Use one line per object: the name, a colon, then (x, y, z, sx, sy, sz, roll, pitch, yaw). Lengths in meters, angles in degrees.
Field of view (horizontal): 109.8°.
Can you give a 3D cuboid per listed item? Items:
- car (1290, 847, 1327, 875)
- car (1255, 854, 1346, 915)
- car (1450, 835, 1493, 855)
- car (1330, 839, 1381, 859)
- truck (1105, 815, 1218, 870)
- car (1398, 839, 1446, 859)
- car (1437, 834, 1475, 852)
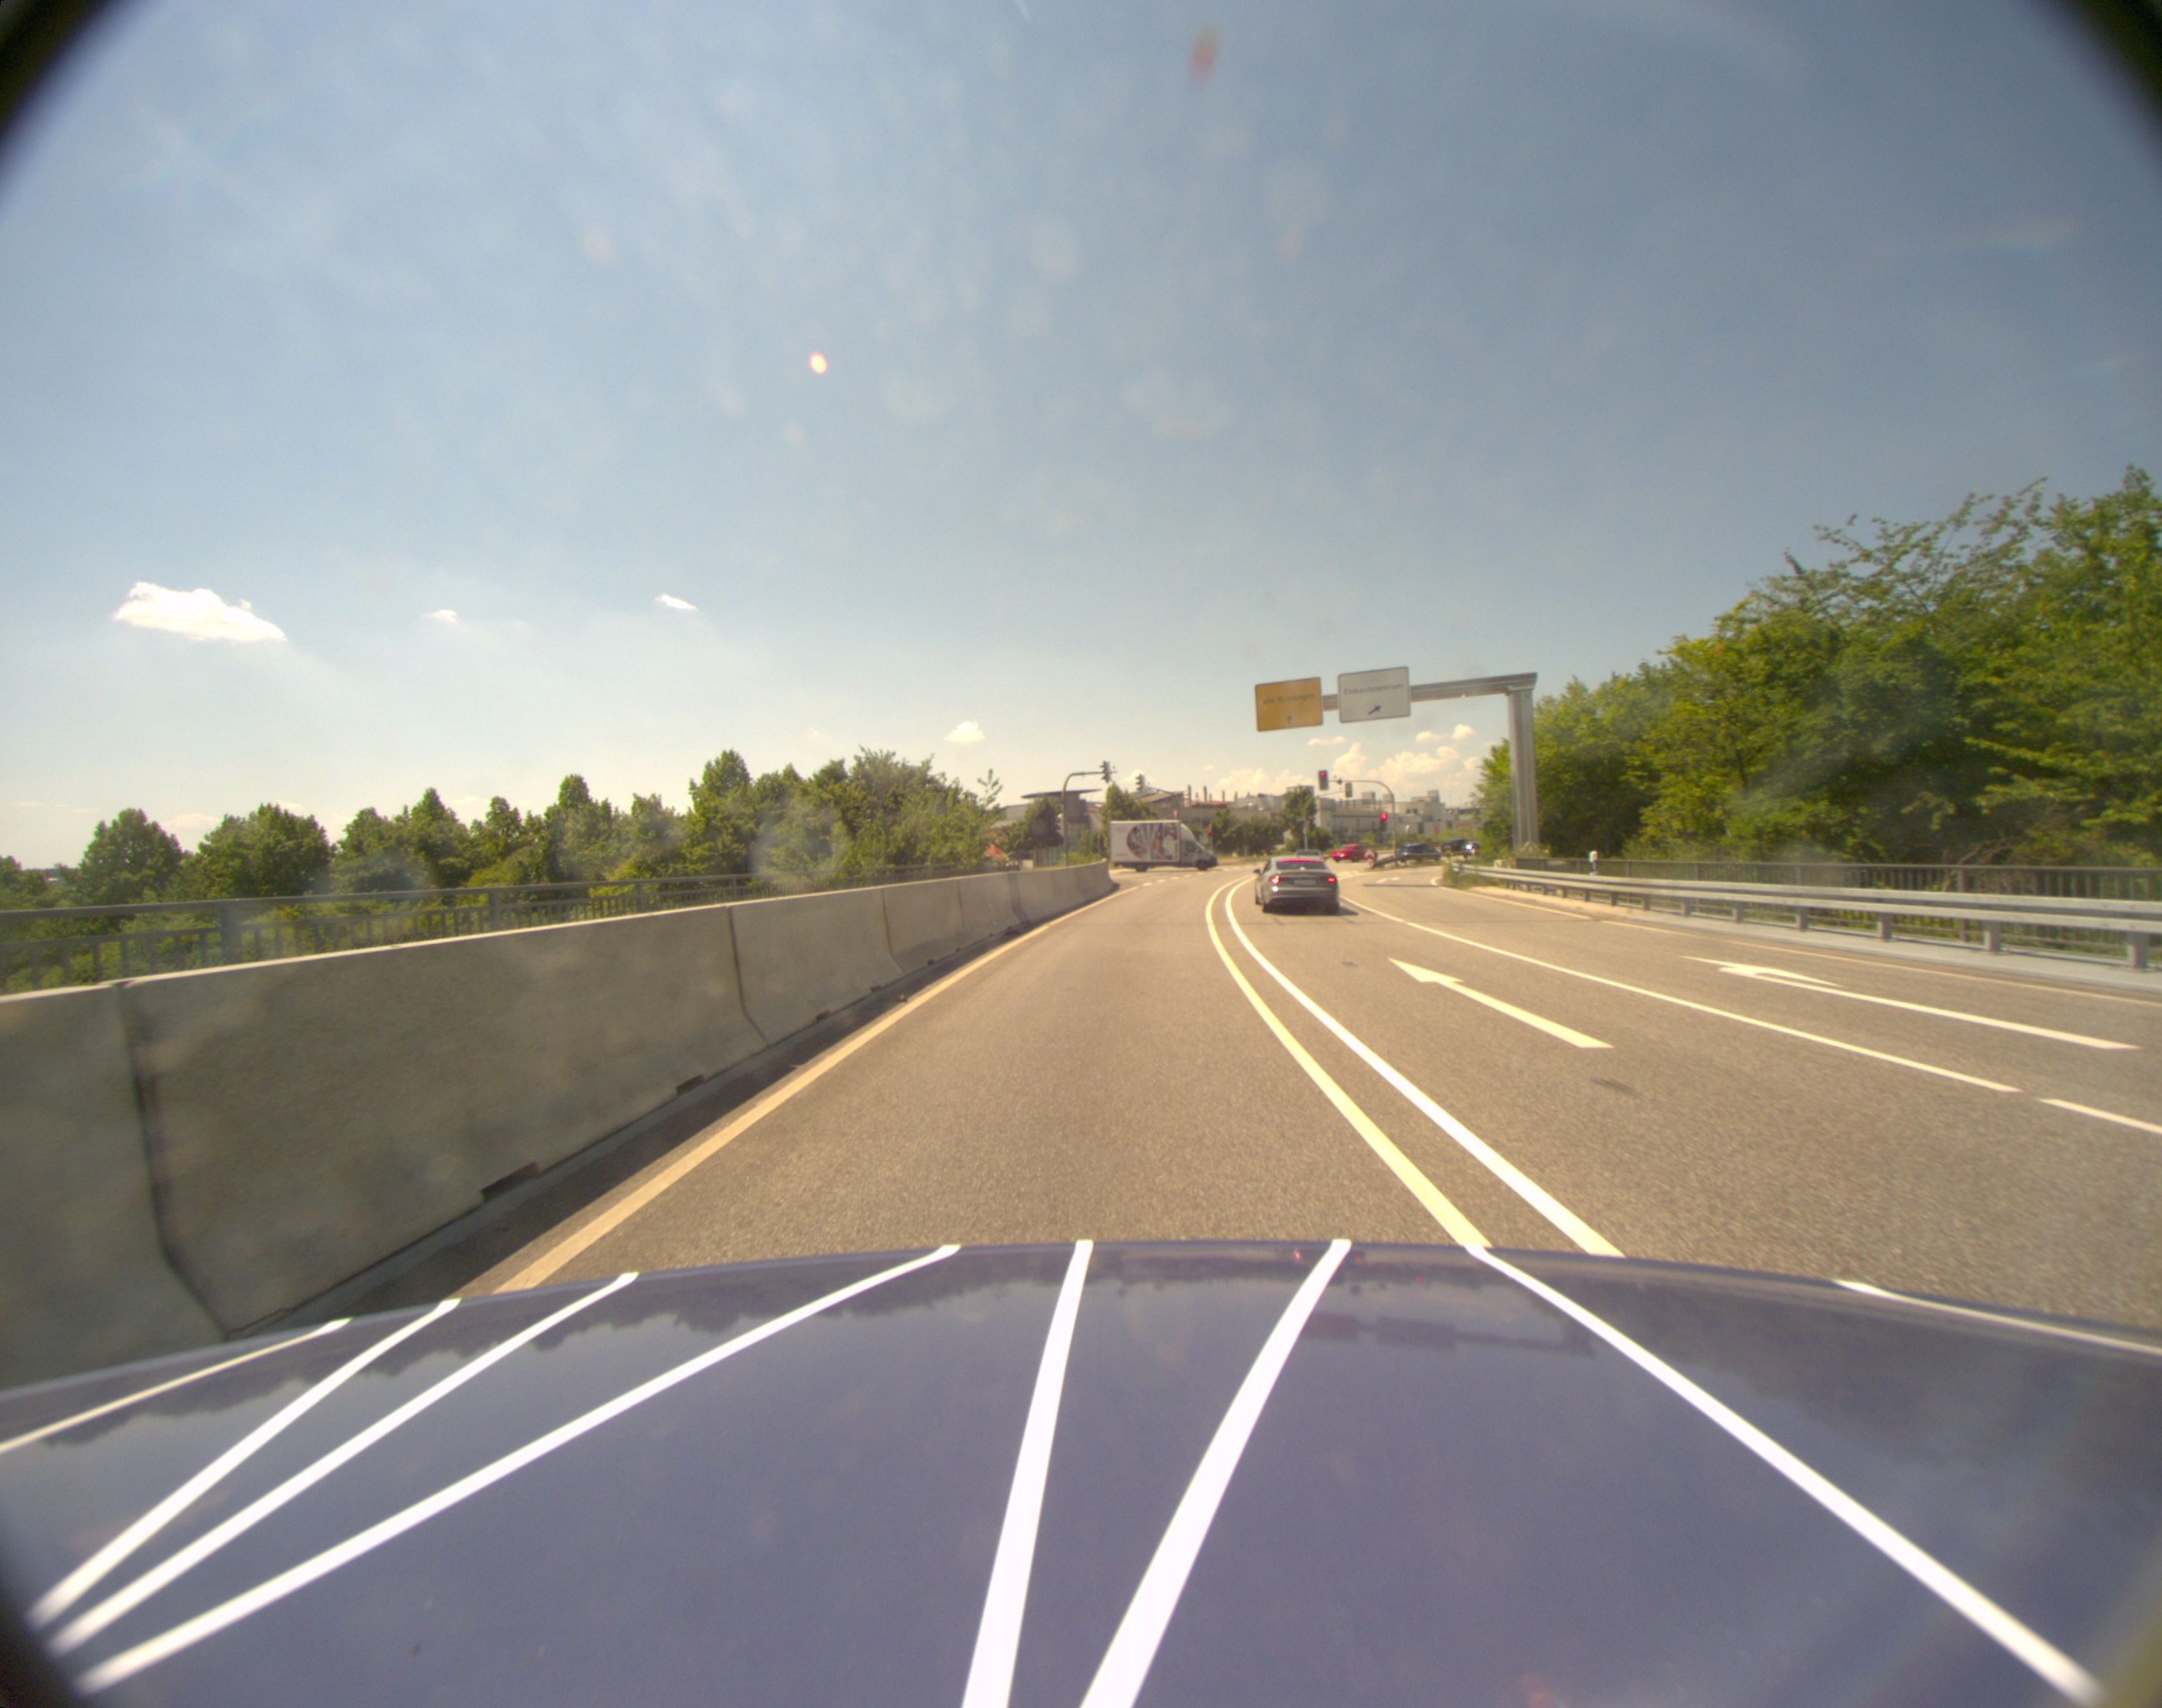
car: (11.929, 0.326, 39.758, 1.647, 1.344, 3.974, 1, 1, 19)
car: (5.590, 0.718, 19.805, 1.782, 1.376, 4.285, -1, 0, 10)
car: (34.725, -0.848, 67.570, 4.436, 1.475, 1.778, -4, 6, -40)
car: (22.327, -0.422, 61.750, 4.457, 1.381, 1.661, -4, 4, -37)
truck: (5.430, -0.754, 50.668, 7.191, 3.330, 2.416, -2, 4, 11)
car: (26.462, -0.428, 58.898, 4.498, 1.454, 1.708, -2, 3, -42)
car: (37.608, -1.149, 76.182, 4.514, 1.592, 1.875, -3, 5, -43)
